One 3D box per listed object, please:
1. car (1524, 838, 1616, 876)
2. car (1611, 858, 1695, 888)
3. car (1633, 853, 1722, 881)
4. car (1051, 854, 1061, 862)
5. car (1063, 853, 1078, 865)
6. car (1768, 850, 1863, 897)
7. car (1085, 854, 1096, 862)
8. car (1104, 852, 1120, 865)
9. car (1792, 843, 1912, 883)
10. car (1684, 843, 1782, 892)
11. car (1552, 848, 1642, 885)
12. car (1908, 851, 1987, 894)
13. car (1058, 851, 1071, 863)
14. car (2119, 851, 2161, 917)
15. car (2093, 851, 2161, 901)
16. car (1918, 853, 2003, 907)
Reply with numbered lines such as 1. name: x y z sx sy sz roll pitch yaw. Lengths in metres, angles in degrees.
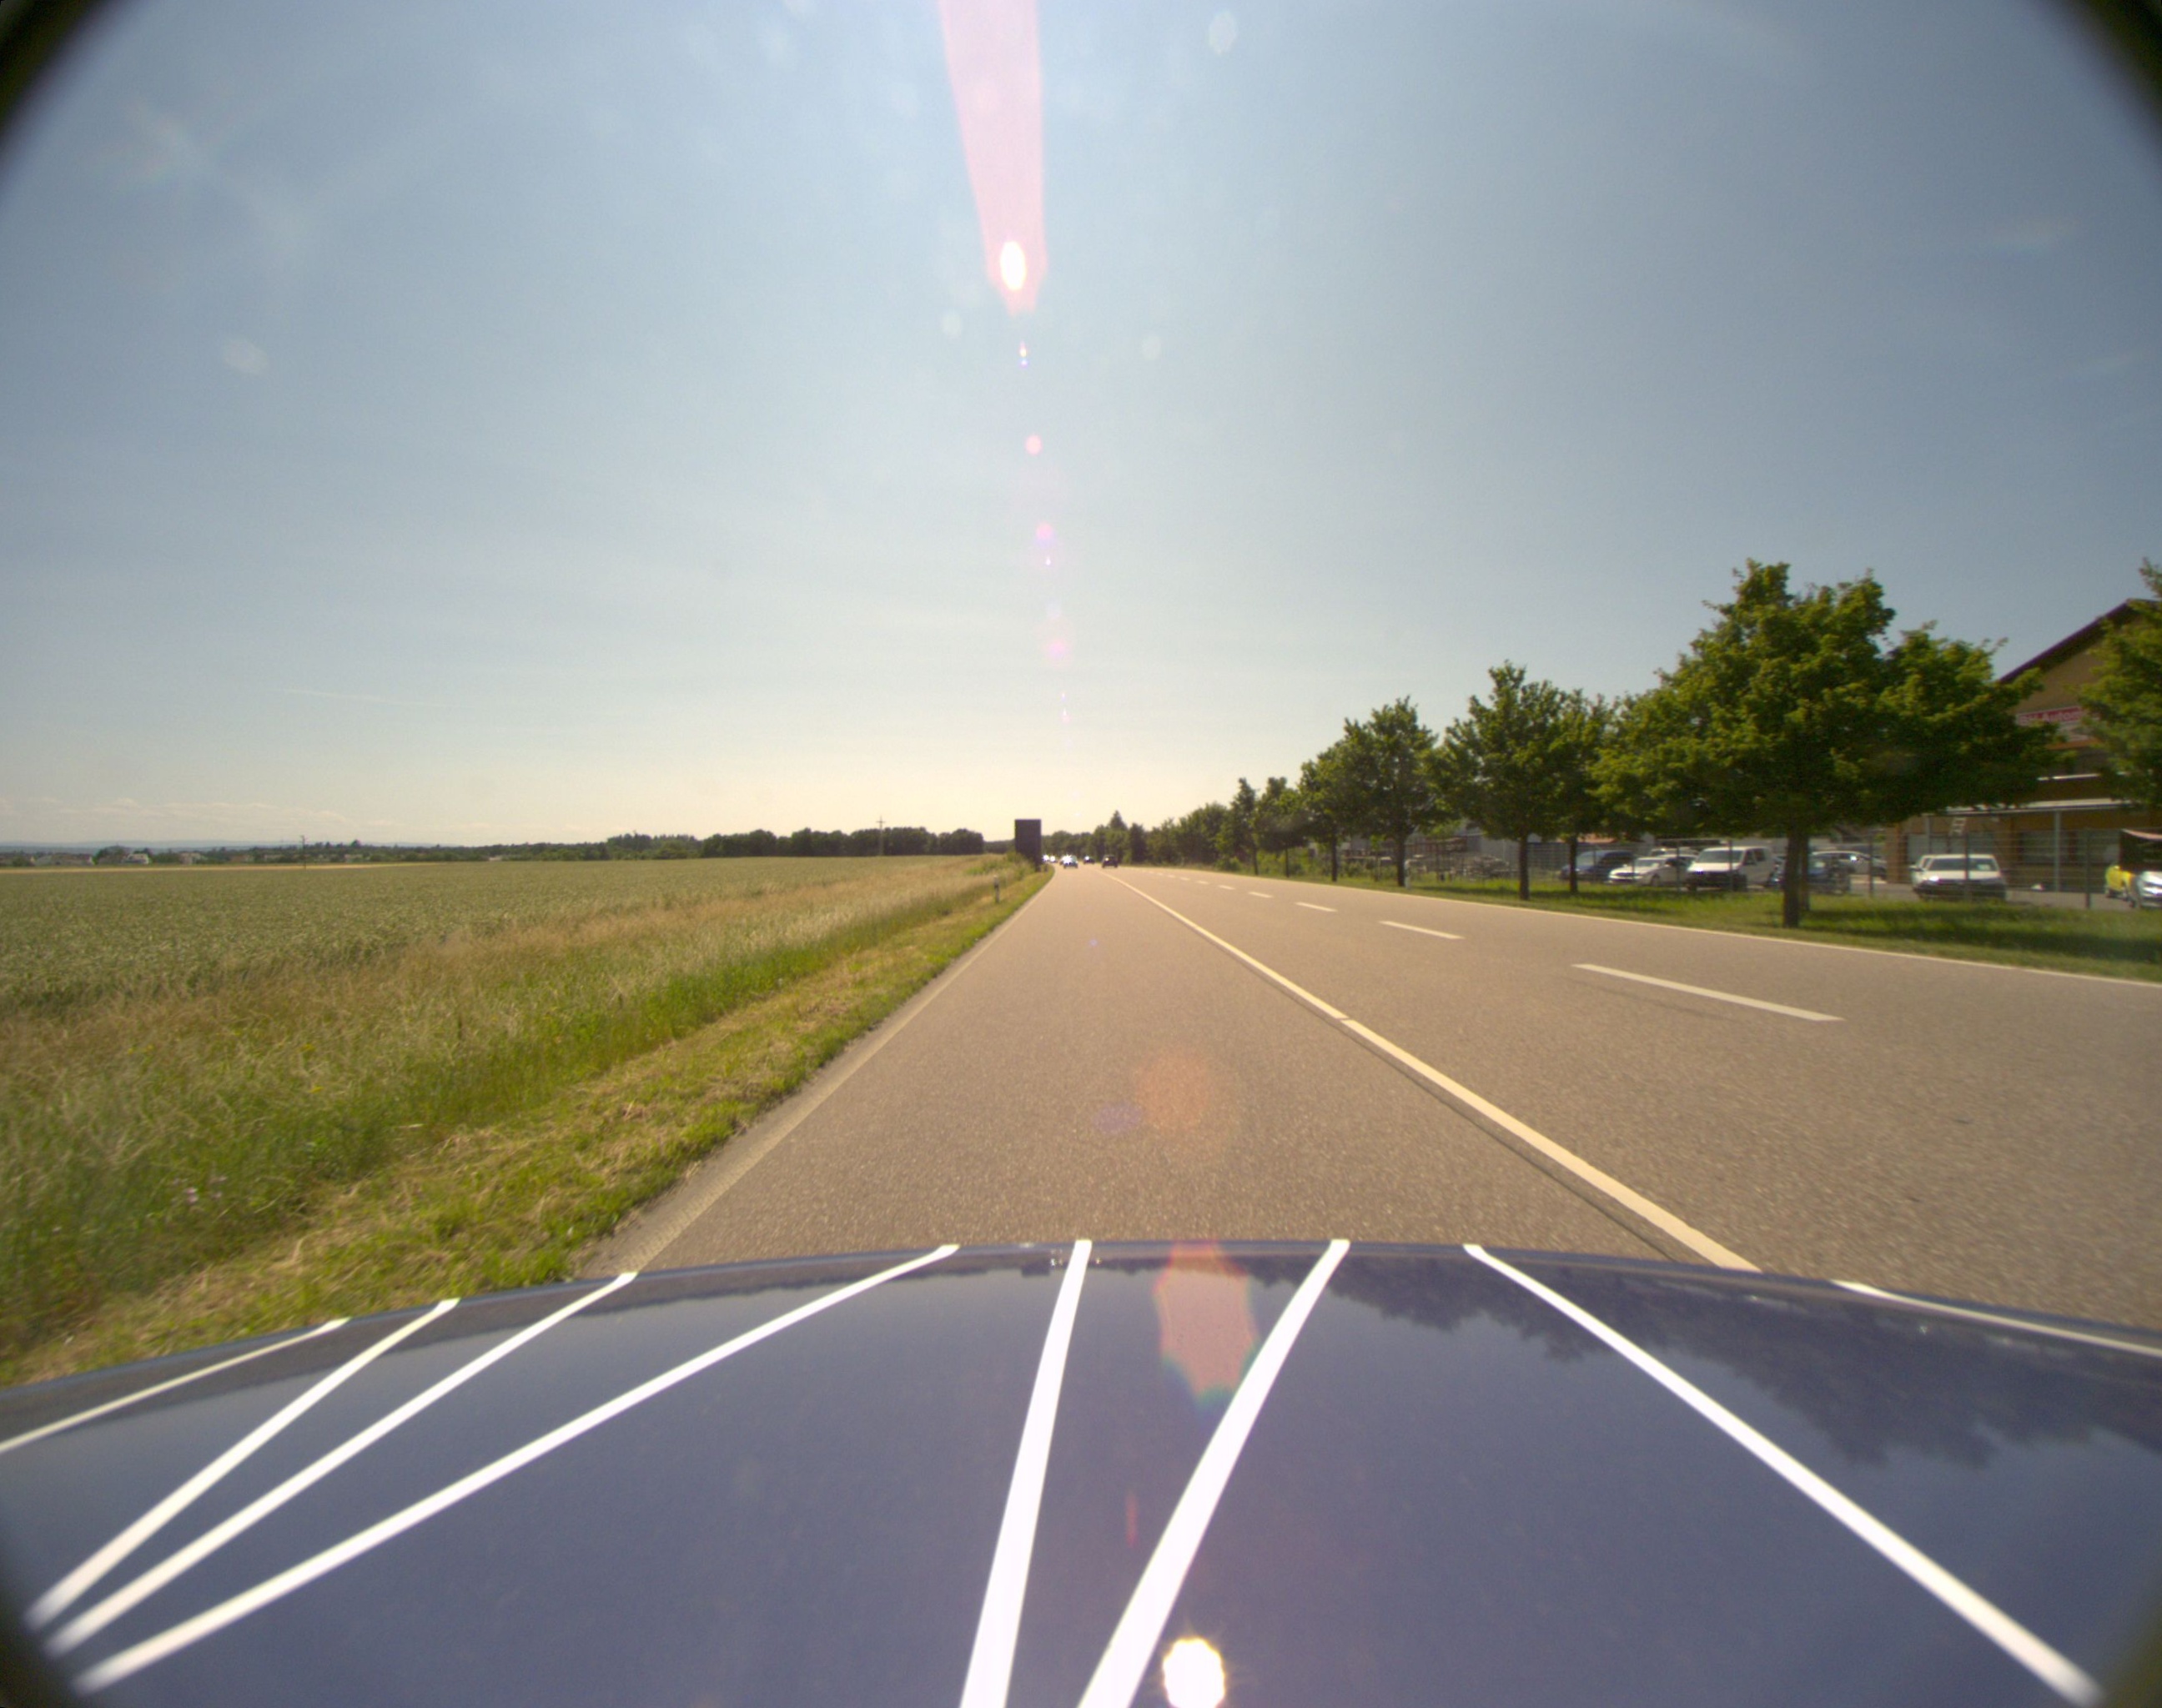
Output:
1. car: 36.793 0.216 57.409 5.729 2.707 2.370 0 1 31
2. car: 27.726 0.899 36.833 3.684 1.257 1.812 -2 0 -27
3. car: 32.863 0.684 41.919 3.697 1.400 1.641 -2 1 -4
4. car: -5.555 0.785 168.618 1.555 1.659 3.996 -3 1 -10
5. car: -1.347 0.614 94.837 1.693 1.431 3.709 -2 0 -4
6. car: 28.266 0.709 29.227 4.007 1.587 1.995 -2 1 -37
7. car: 1.612 0.725 128.402 1.640 1.261 3.811 -2 0 -2
8. car: 3.591 0.512 88.863 1.684 1.490 3.885 -2 0 0
9. car: 48.713 0.539 48.117 2.060 2.412 5.089 0 0 -38
10. car: 28.482 0.539 33.147 4.672 1.943 1.822 -2 1 -31
11. car: 27.504 0.646 40.480 4.310 1.791 2.021 -2 1 -24
12. car: 32.715 0.657 28.680 3.352 1.444 1.509 -2 1 -33
13. car: -2.818 0.568 130.530 1.999 2.001 3.999 -2 -1 -4
14. car: 28.655 0.739 19.808 4.350 1.534 1.585 -2 1 -40
15. car: 33.817 0.661 24.044 4.008 1.390 1.734 -2 1 -43
16. car: 27.926 0.780 24.092 4.001 1.471 1.668 -2 1 -39
